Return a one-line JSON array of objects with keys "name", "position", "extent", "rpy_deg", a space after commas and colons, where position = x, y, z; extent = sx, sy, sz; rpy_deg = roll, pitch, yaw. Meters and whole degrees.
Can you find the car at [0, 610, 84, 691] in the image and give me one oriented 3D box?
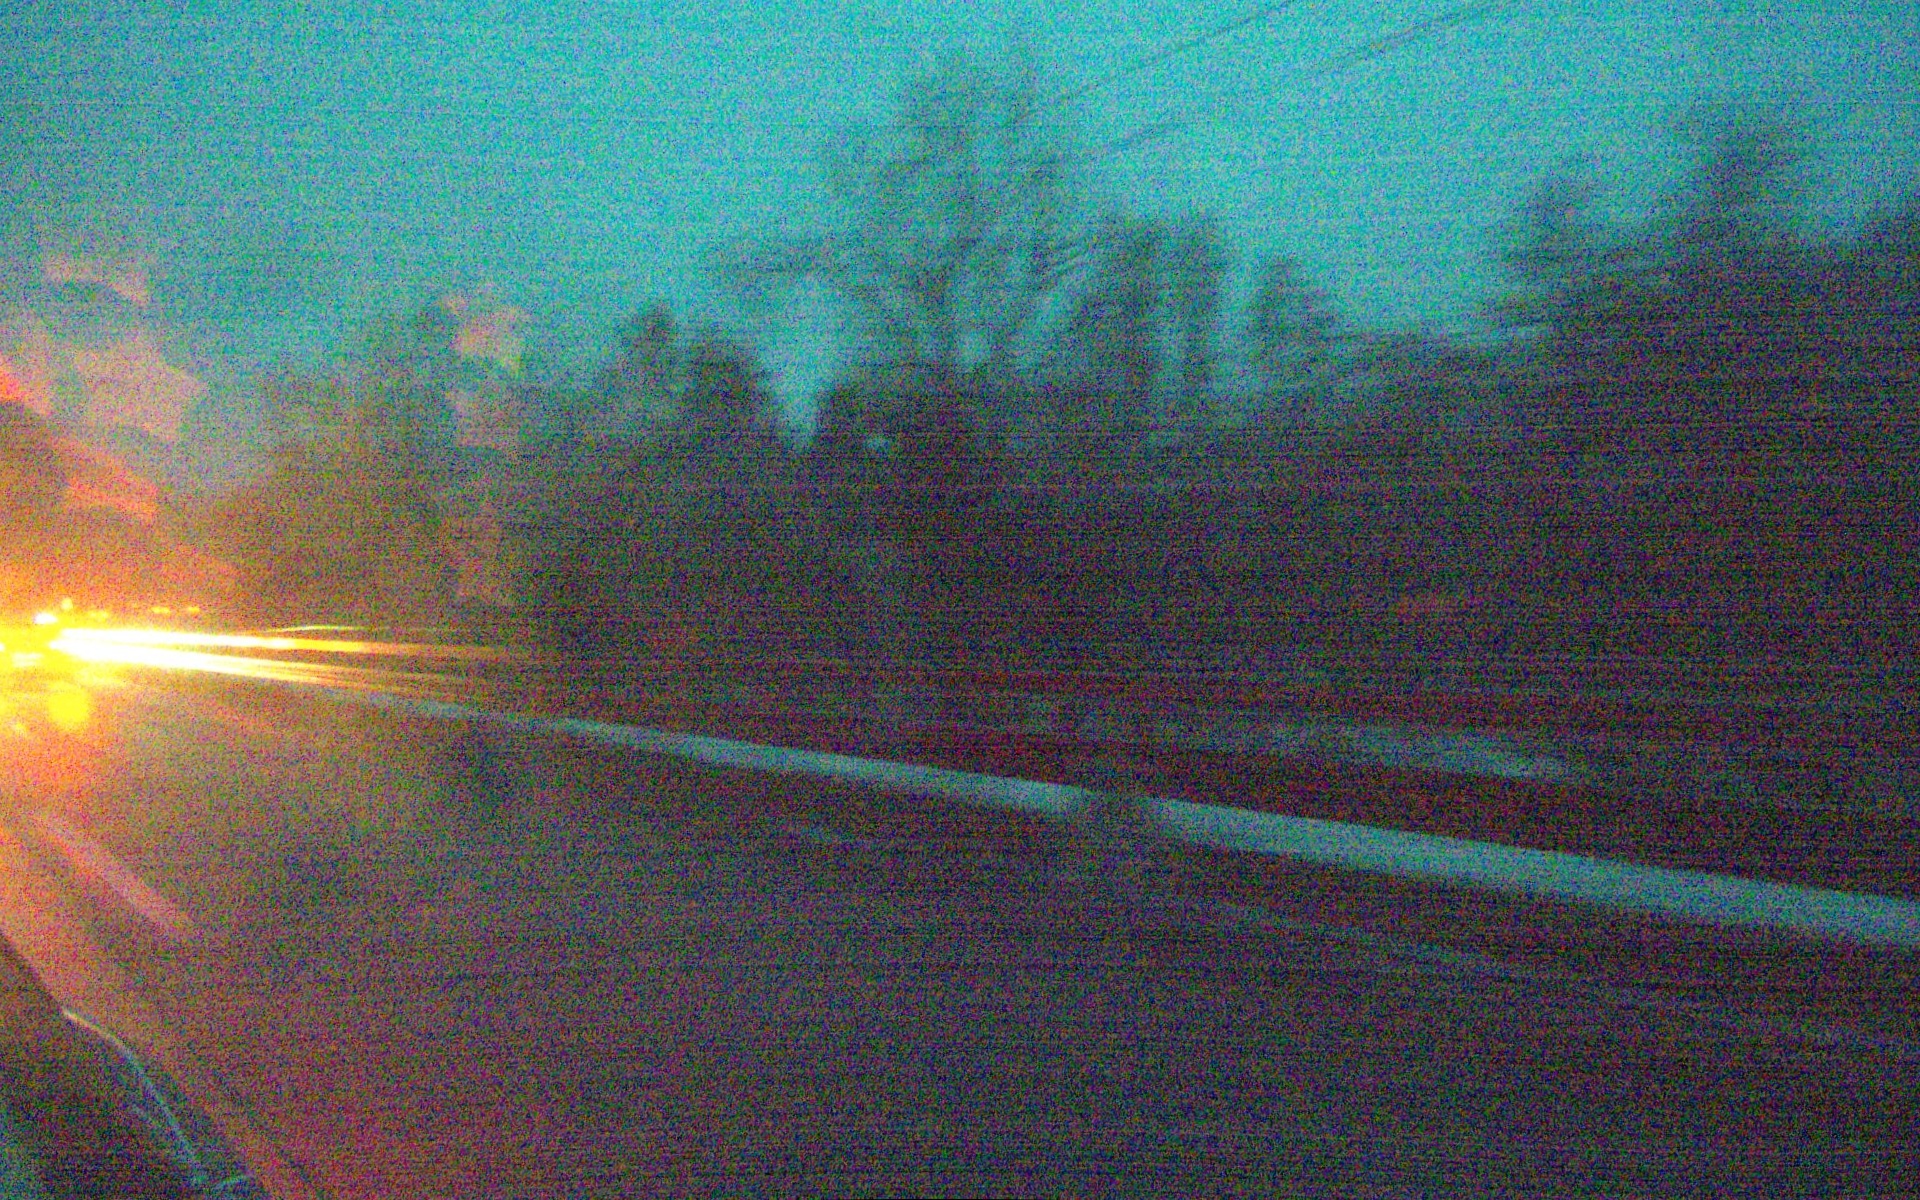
[{"name": "car", "position": [-20.390, 1.015, 21.704], "extent": [4.644, 1.556, 1.815], "rpy_deg": [0, 0, 41]}]
